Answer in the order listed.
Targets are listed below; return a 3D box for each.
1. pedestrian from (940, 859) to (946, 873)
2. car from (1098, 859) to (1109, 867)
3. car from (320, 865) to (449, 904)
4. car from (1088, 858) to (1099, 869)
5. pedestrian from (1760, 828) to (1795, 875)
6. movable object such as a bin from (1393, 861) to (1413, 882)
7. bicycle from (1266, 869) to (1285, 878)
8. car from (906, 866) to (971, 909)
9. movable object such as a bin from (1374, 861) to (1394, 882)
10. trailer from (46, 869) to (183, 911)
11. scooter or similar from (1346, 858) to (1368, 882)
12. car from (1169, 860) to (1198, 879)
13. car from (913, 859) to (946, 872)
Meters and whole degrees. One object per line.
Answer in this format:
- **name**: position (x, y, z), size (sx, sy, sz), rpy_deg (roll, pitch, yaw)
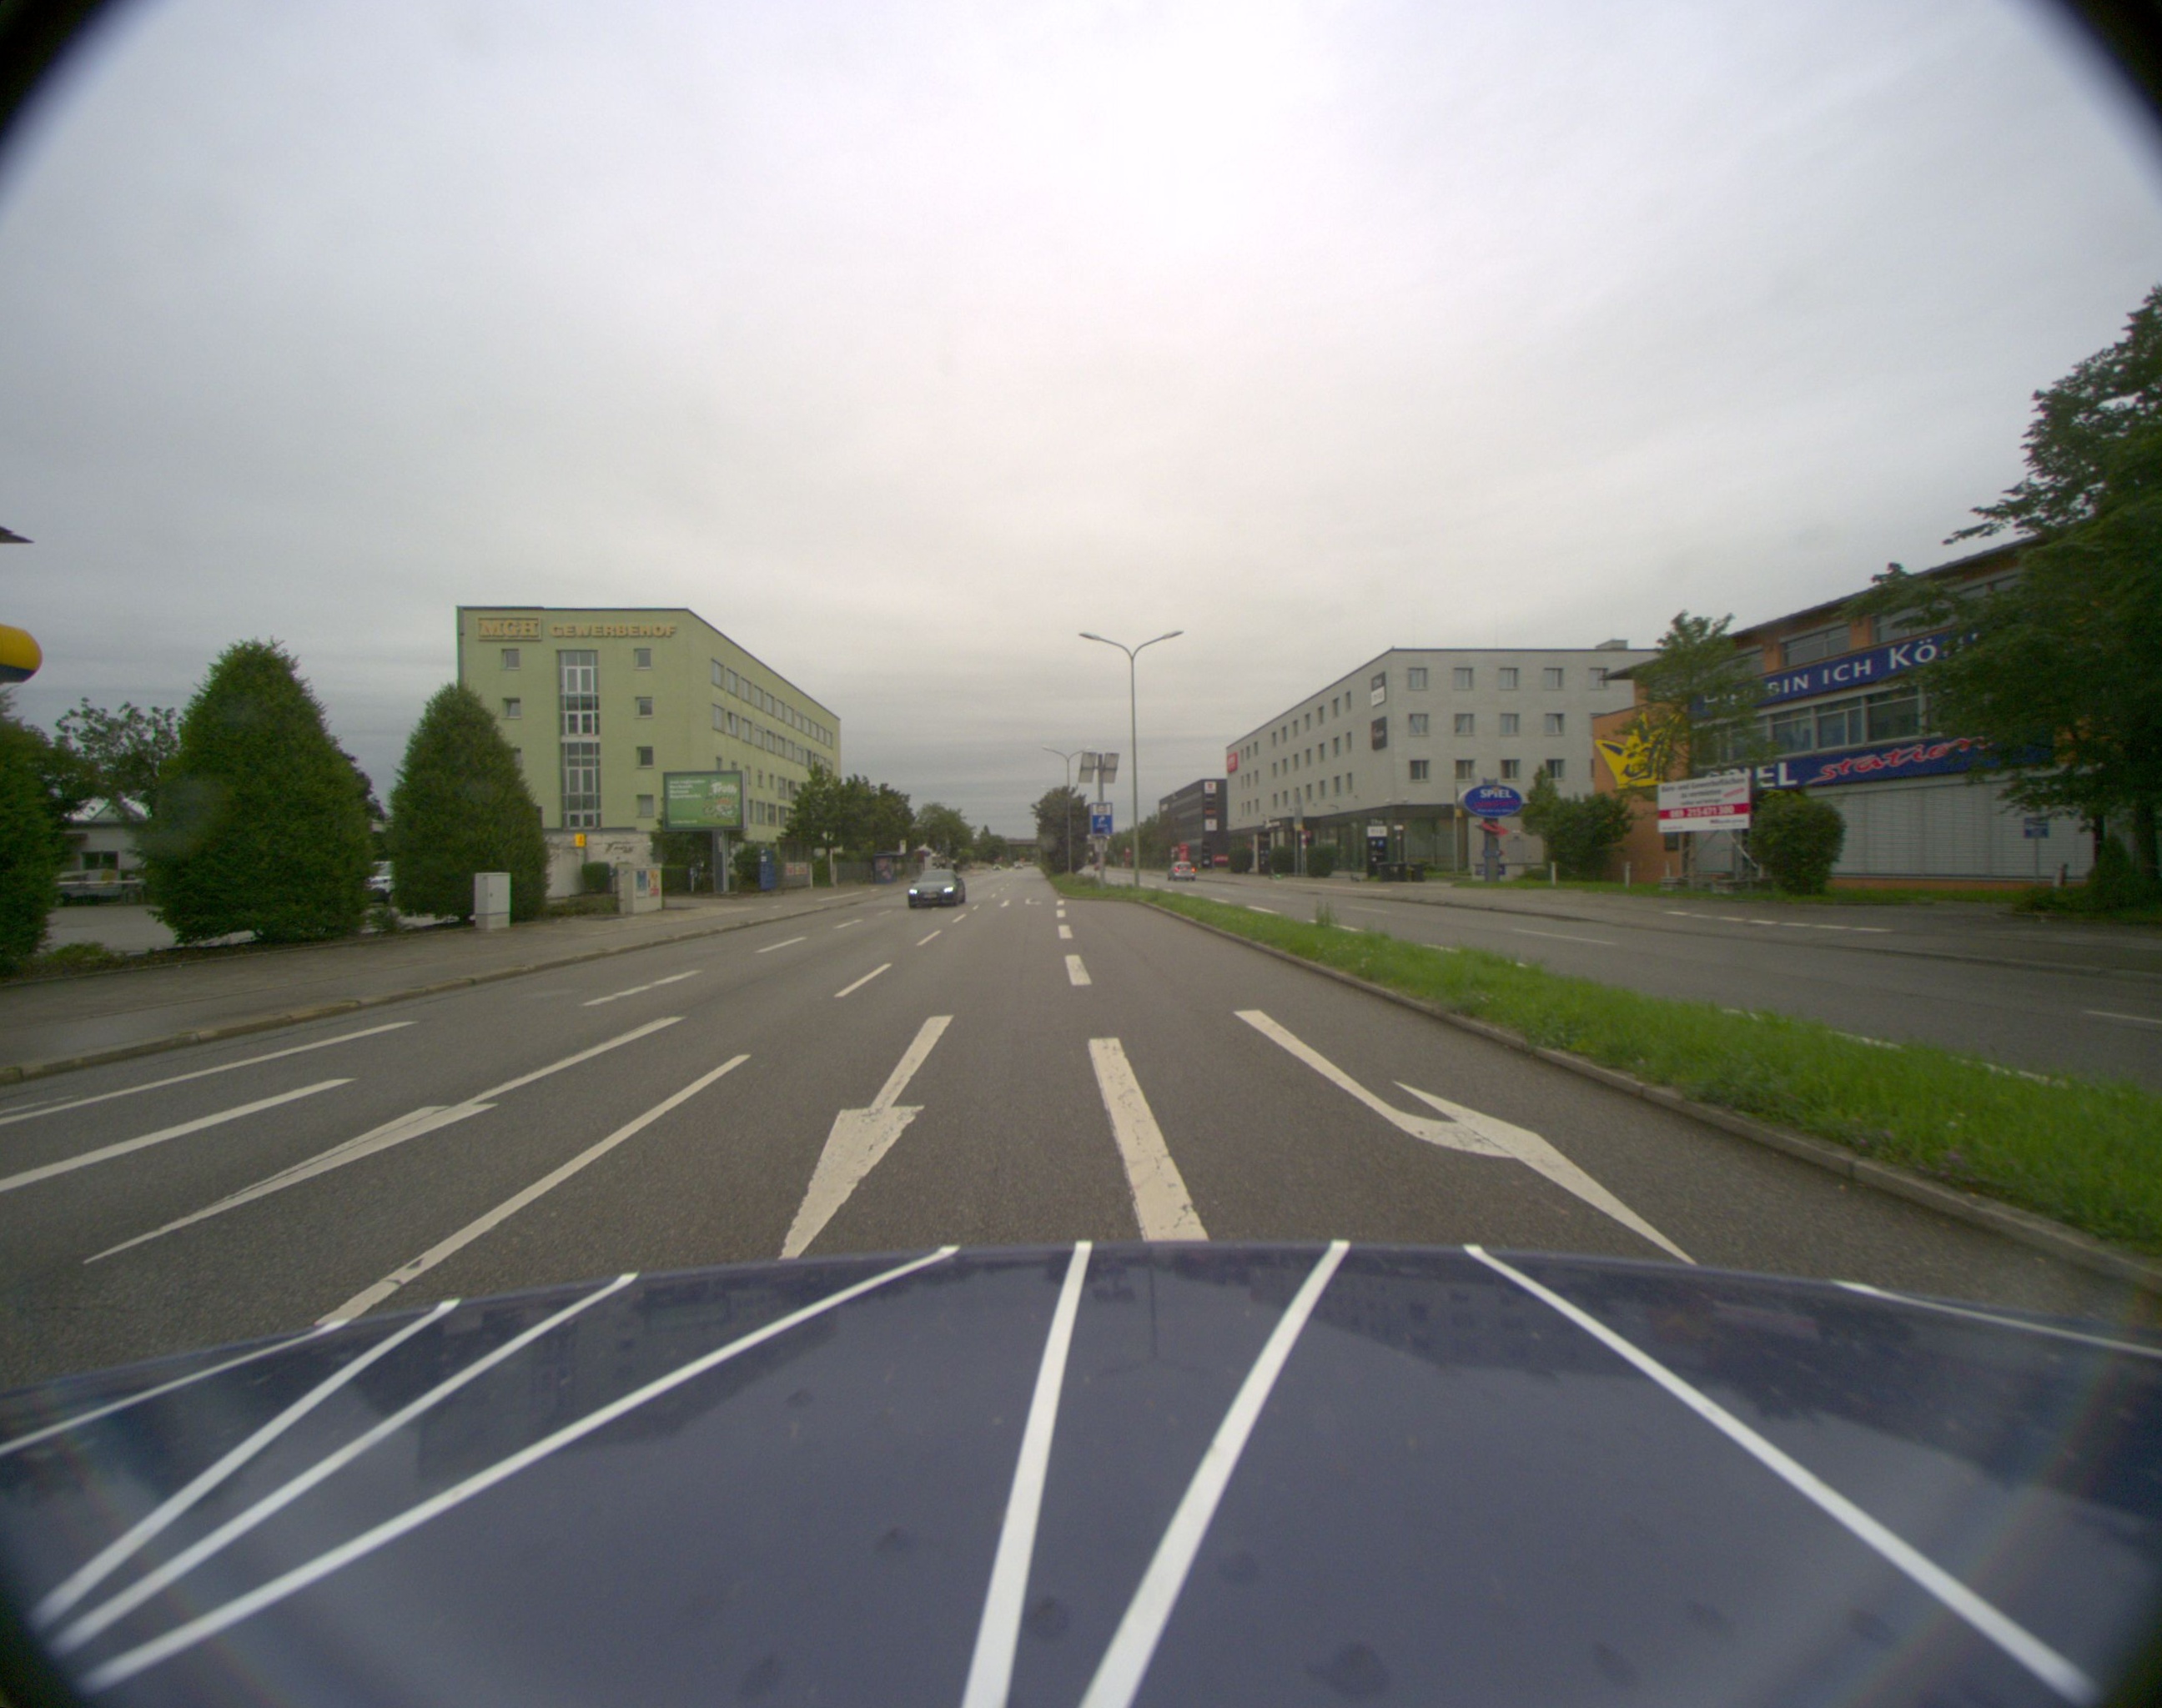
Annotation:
- **pedestrian**: position (-19.199, 1.646, 105.508), size (0.683, 1.810, 0.688), rpy_deg (-2, 0, -4)
- **car**: position (4.212, 1.687, 144.405), size (1.740, 1.539, 4.303), rpy_deg (0, 0, -4)
- **car**: position (-29.112, 1.228, 31.943), size (1.830, 1.430, 3.999), rpy_deg (-2, 0, -3)
- **car**: position (2.378, 1.787, 144.247), size (1.817, 2.002, 3.833), rpy_deg (0, 0, -2)
- **pedestrian**: position (25.700, -0.101, 28.038), size (0.660, 1.702, 0.663), rpy_deg (-2, 0, 2)
- **movable object such as a bin**: position (17.091, 0.949, 40.302), size (0.739, 1.072, 0.655), rpy_deg (-2, 0, -3)
- **bicycle**: position (13.714, 1.347, 53.618), size (0.722, 0.545, 1.732), rpy_deg (-4, 0, -3)
- **car**: position (-5.680, 1.291, 30.721), size (1.917, 1.498, 4.438), rpy_deg (-2, 0, -3)
- **movable object such as a bin**: position (16.297, 0.951, 40.845), size (0.739, 1.072, 0.655), rpy_deg (-2, 0, -3)
- **trailer**: position (-43.784, 1.612, 34.486), size (3.808, 1.640, 1.634), rpy_deg (-2, 0, -4)
- **scooter or similar**: position (15.605, 0.892, 42.975), size (0.587, 1.270, 1.403), rpy_deg (-6, 0, -3)
- **car**: position (8.532, 1.255, 63.639), size (1.819, 1.548, 4.026), rpy_deg (0, 0, -2)
- **car**: position (-23.413, 1.826, 117.541), size (4.652, 1.831, 1.797), rpy_deg (-2, 0, -26)
